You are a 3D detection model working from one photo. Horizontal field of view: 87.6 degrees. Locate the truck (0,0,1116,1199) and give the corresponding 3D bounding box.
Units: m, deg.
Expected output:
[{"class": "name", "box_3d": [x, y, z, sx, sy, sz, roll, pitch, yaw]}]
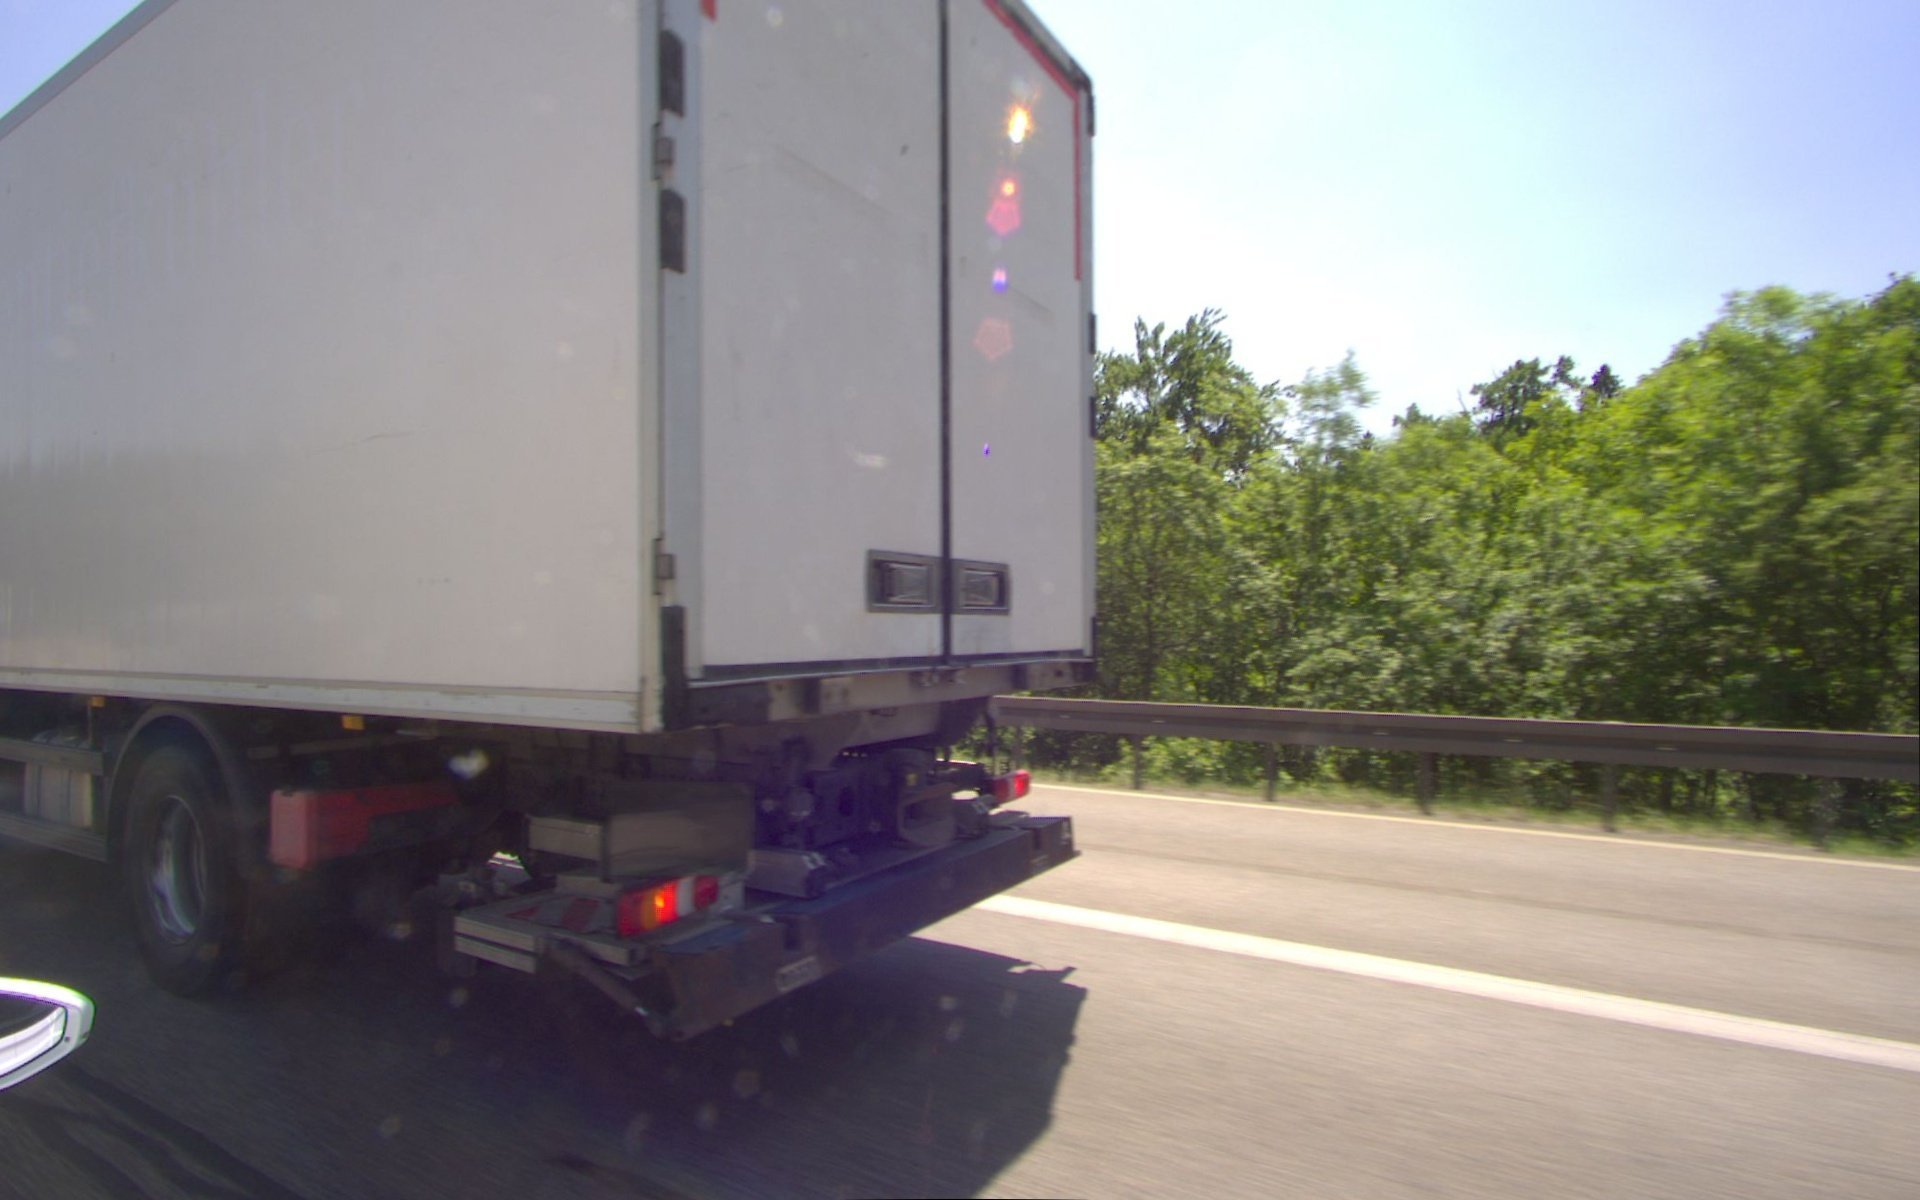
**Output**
[{"class": "truck", "box_3d": [-4.096, -0.472, 6.014, 9.641, 3.929, 2.681, -1, 2, 33]}]
